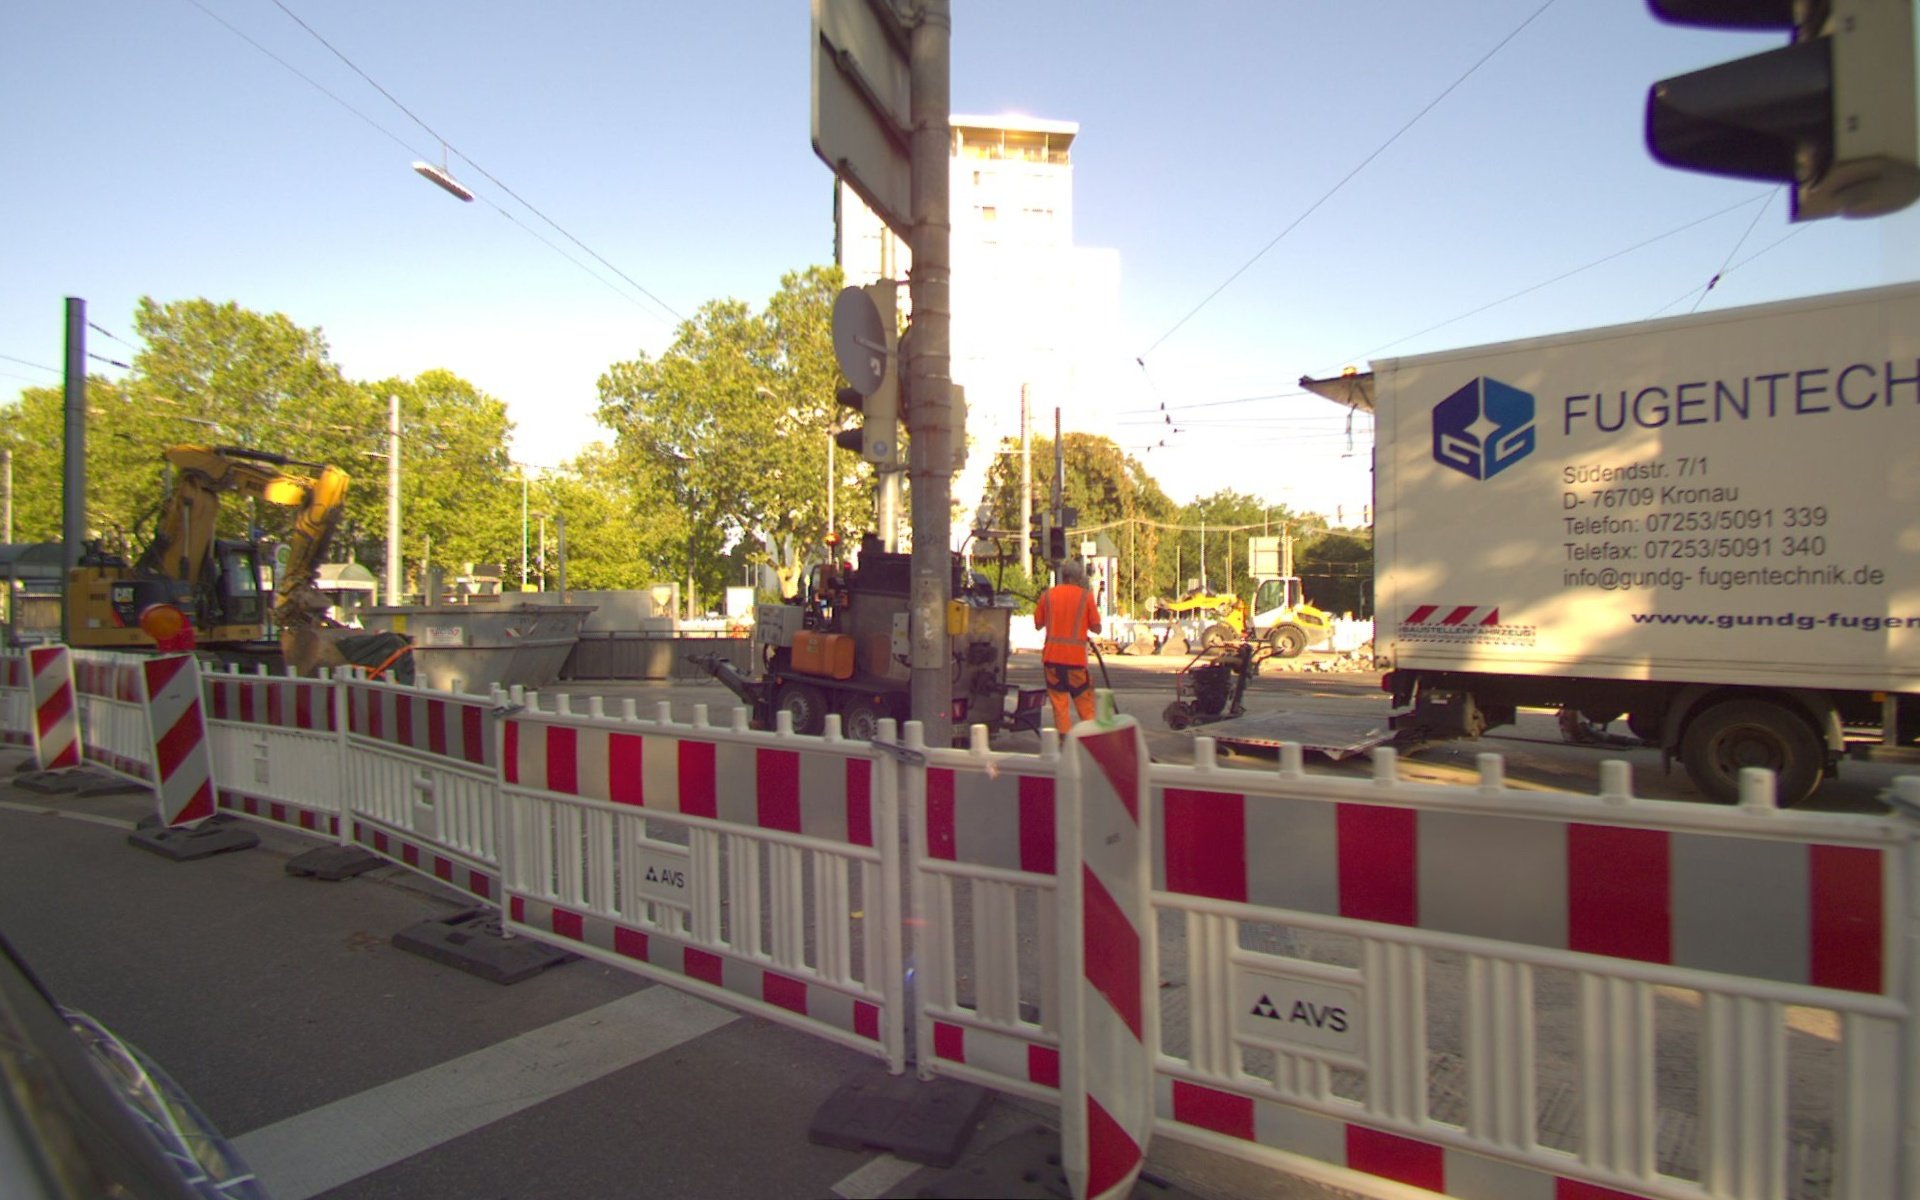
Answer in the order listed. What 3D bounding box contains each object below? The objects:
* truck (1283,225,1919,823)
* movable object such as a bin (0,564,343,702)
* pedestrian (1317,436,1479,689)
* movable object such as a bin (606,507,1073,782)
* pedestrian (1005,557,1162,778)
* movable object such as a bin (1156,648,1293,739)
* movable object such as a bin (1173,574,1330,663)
[{"bbox_3d":[7.055,-0.461,6.722,8.980,3.568,2.782,-2,-1,42],"label":"truck"},{"bbox_3d":[-14.609,0.611,18.796,4.846,2.335,2.644,-1,-1,9],"label":"movable object such as a bin"},{"bbox_3d":[3.793,-0.280,8.756,1.000,2.029,0.927,-3,-2,39],"label":"pedestrian"},{"bbox_3d":[-1.519,0.403,10.847,5.205,2.273,1.973,-2,0,41],"label":"movable object such as a bin"},{"bbox_3d":[1.111,0.567,9.010,1.066,1.812,0.965,-1,-1,31],"label":"pedestrian"},{"bbox_3d":[2.925,1.004,11.214,1.407,0.924,0.930,-1,-1,17],"label":"movable object such as a bin"},{"bbox_3d":[9.150,0.612,32.000,4.558,2.659,2.146,-1,-2,16],"label":"movable object such as a bin"}]
